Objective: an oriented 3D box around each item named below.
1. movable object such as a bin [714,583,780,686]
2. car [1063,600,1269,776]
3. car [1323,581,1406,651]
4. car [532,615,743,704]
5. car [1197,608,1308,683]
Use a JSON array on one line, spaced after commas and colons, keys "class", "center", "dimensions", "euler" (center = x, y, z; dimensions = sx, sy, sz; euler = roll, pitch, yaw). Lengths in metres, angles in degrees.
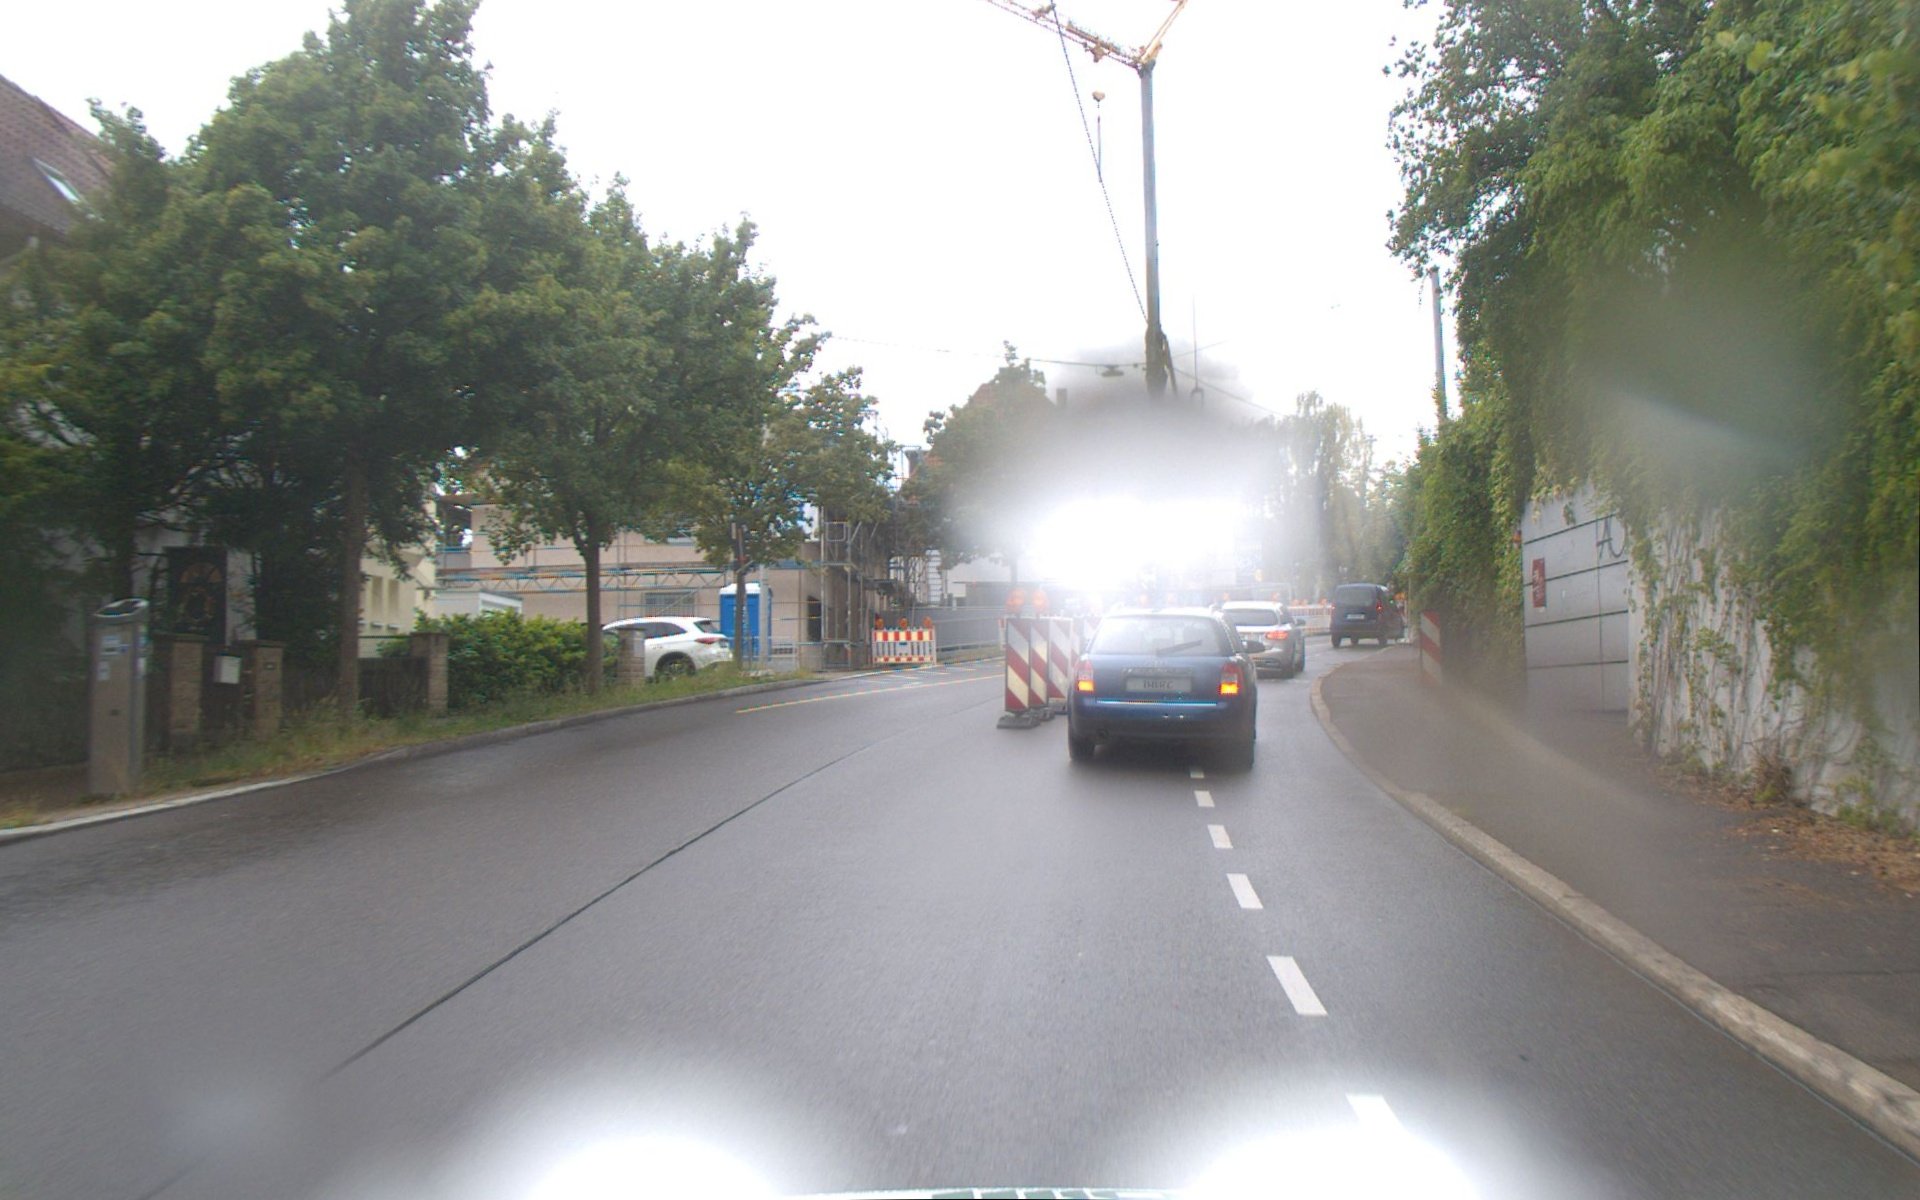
[{"class": "movable object such as a bin", "center": [-5.431, 0.868, 42.223], "dimensions": [1.284, 2.549, 1.387], "euler": [-1, 0, 7]}, {"class": "car", "center": [2.109, 0.764, 16.177], "dimensions": [1.739, 1.464, 4.003], "euler": [1, 0, 10]}, {"class": "car", "center": [12.303, 0.459, 50.129], "dimensions": [1.695, 1.927, 4.054], "euler": [-4, -1, 23]}, {"class": "car", "center": [-7.092, 1.301, 36.593], "dimensions": [4.108, 1.632, 1.952], "euler": [-4, -2, 5]}, {"class": "car", "center": [5.979, 0.864, 33.463], "dimensions": [1.868, 1.413, 4.353], "euler": [0, 0, 15]}]
